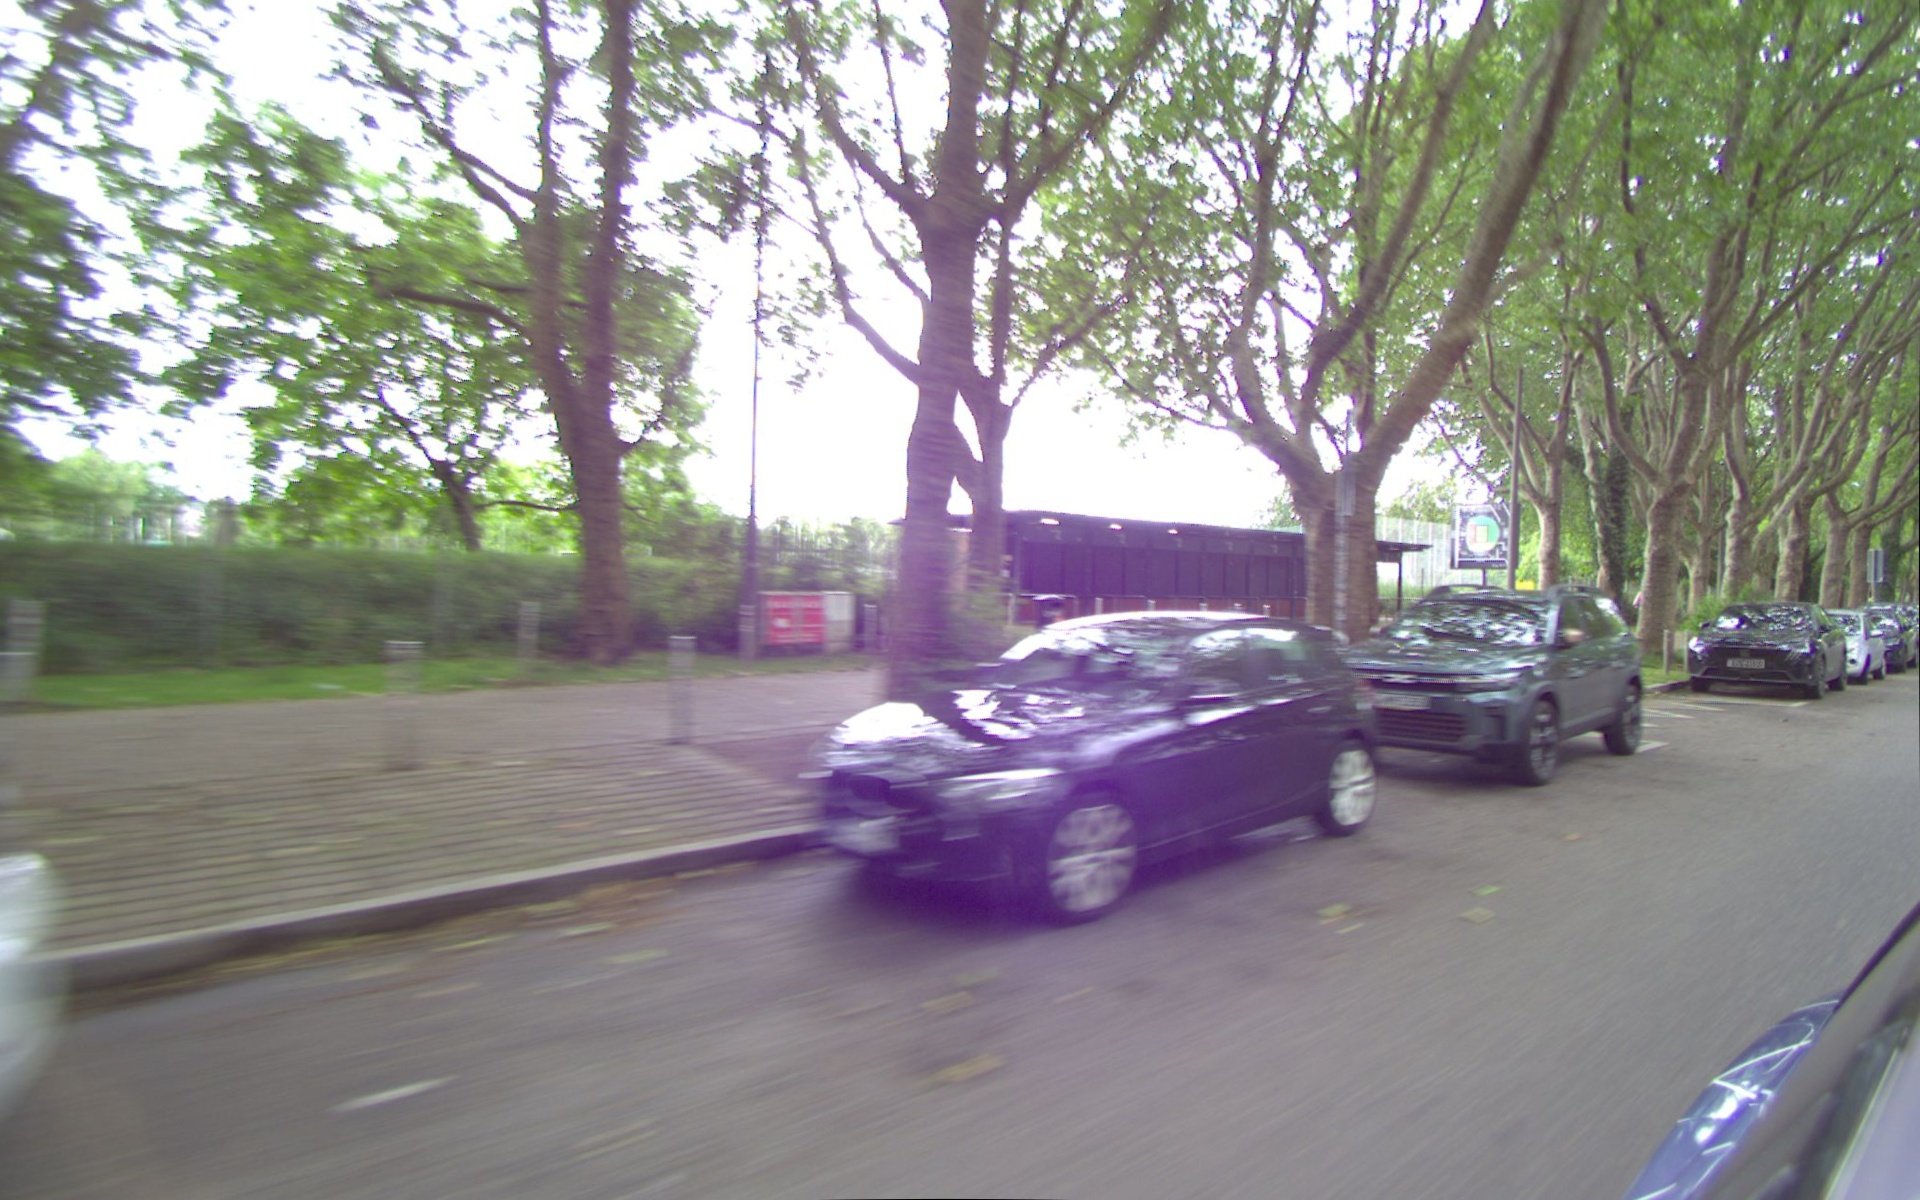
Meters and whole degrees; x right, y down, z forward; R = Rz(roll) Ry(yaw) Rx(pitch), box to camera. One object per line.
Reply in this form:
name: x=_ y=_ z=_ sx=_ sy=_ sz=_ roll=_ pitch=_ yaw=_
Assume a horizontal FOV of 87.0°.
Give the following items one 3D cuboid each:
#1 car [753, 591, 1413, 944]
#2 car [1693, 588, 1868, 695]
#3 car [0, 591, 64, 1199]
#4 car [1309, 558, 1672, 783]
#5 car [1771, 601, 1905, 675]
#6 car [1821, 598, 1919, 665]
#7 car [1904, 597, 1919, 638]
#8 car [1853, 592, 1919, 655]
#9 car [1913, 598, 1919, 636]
car: x=1.034 y=0.680 z=6.241 sx=4.288 sy=1.433 sz=1.709 roll=0 pitch=0 yaw=-43
car: x=15.018 y=0.656 z=18.435 sx=4.558 sy=1.694 sz=1.780 roll=0 pitch=1 yaw=-42
car: x=-4.049 y=0.705 z=1.652 sx=3.821 sy=1.445 sz=1.710 roll=0 pitch=0 yaw=-41
car: x=5.343 y=0.535 z=9.894 sx=4.552 sy=1.720 sz=1.709 roll=0 pitch=0 yaw=-43
car: x=18.876 y=0.756 z=21.723 sx=3.644 sy=1.460 sz=1.619 roll=0 pitch=-1 yaw=-40
car: x=22.978 y=0.726 z=25.235 sx=4.277 sy=1.528 sz=1.671 roll=0 pitch=-1 yaw=-41
car: x=35.549 y=0.616 z=36.743 sx=1.717 sy=1.457 sz=4.554 roll=-1 pitch=-1 yaw=45
car: x=26.662 y=0.622 z=28.443 sx=4.361 sy=1.640 sz=1.758 roll=0 pitch=-1 yaw=-41
car: x=39.412 y=0.638 z=40.229 sx=4.007 sy=1.489 sz=1.733 roll=0 pitch=-1 yaw=-40
